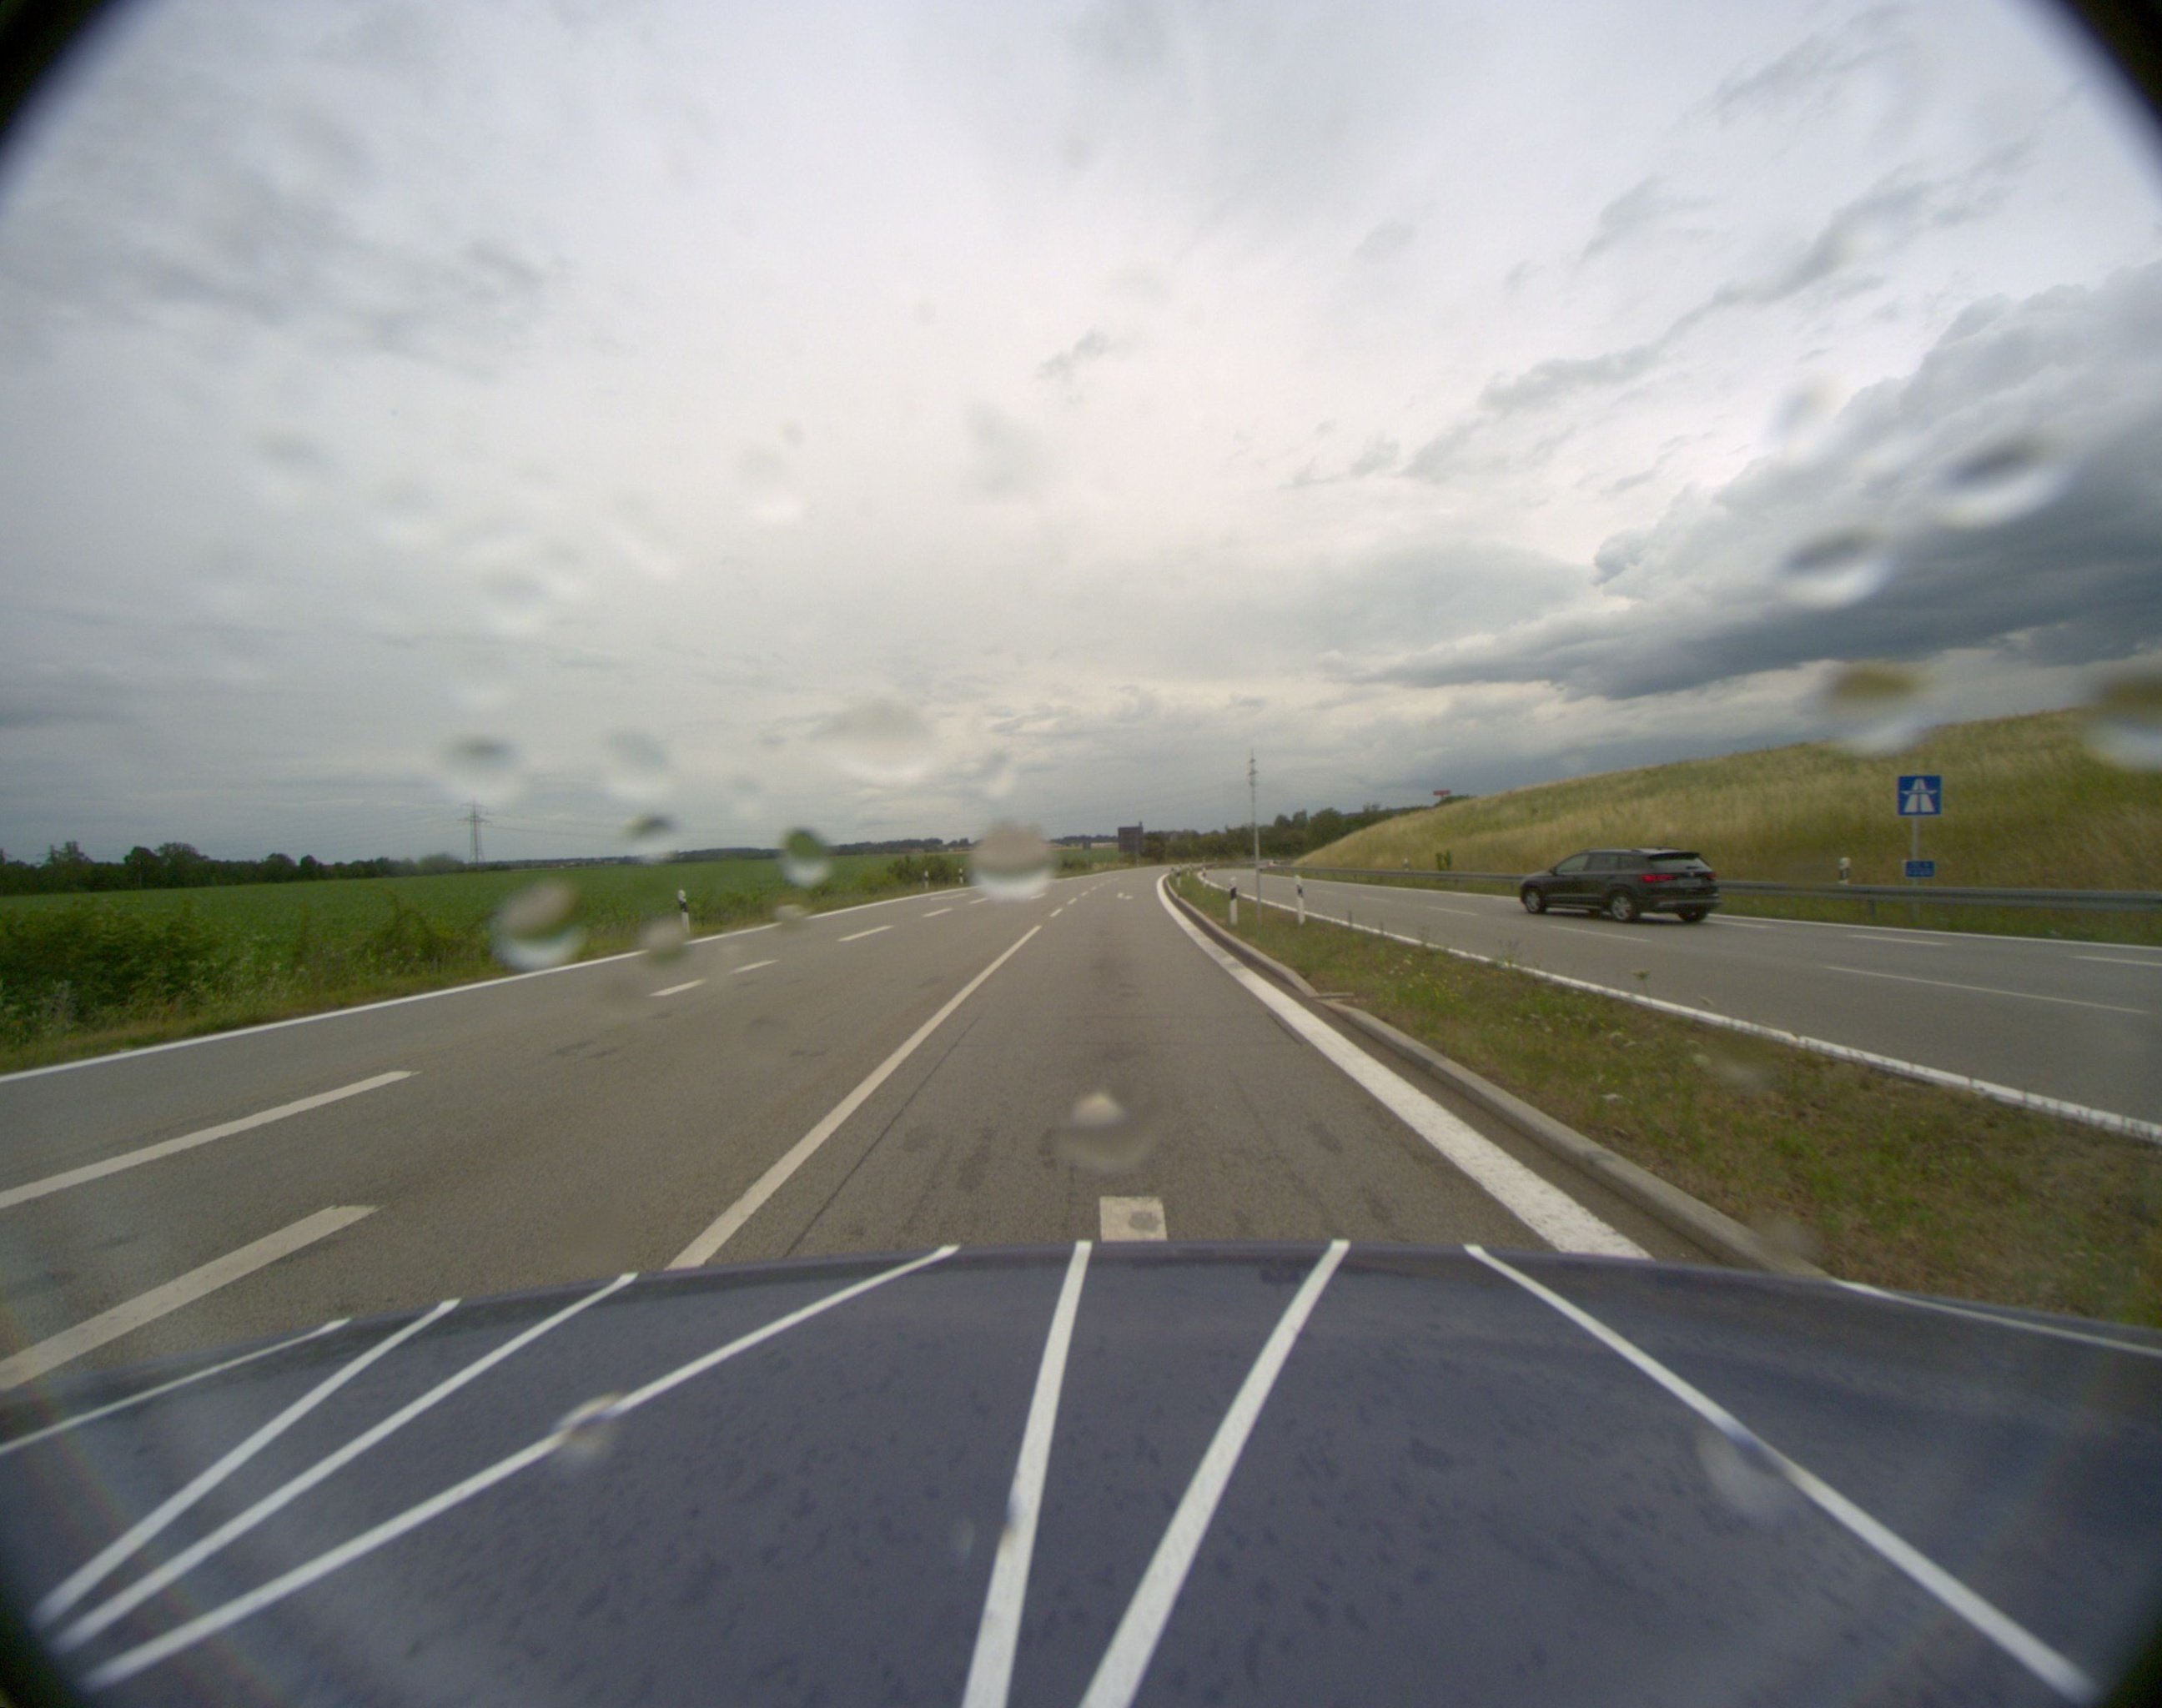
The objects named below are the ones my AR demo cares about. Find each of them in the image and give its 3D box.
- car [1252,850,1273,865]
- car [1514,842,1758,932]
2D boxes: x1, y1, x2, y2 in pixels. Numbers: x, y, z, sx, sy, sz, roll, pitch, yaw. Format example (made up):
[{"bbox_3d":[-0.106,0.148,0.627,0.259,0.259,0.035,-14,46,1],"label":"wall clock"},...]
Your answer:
[{"bbox_3d":[22.212,0.427,92.811,1.996,1.674,4.119,-2,1,19],"label":"car"},{"bbox_3d":[12.038,0.621,16.888,2.000,1.674,4.109,-2,1,-10],"label":"car"}]
